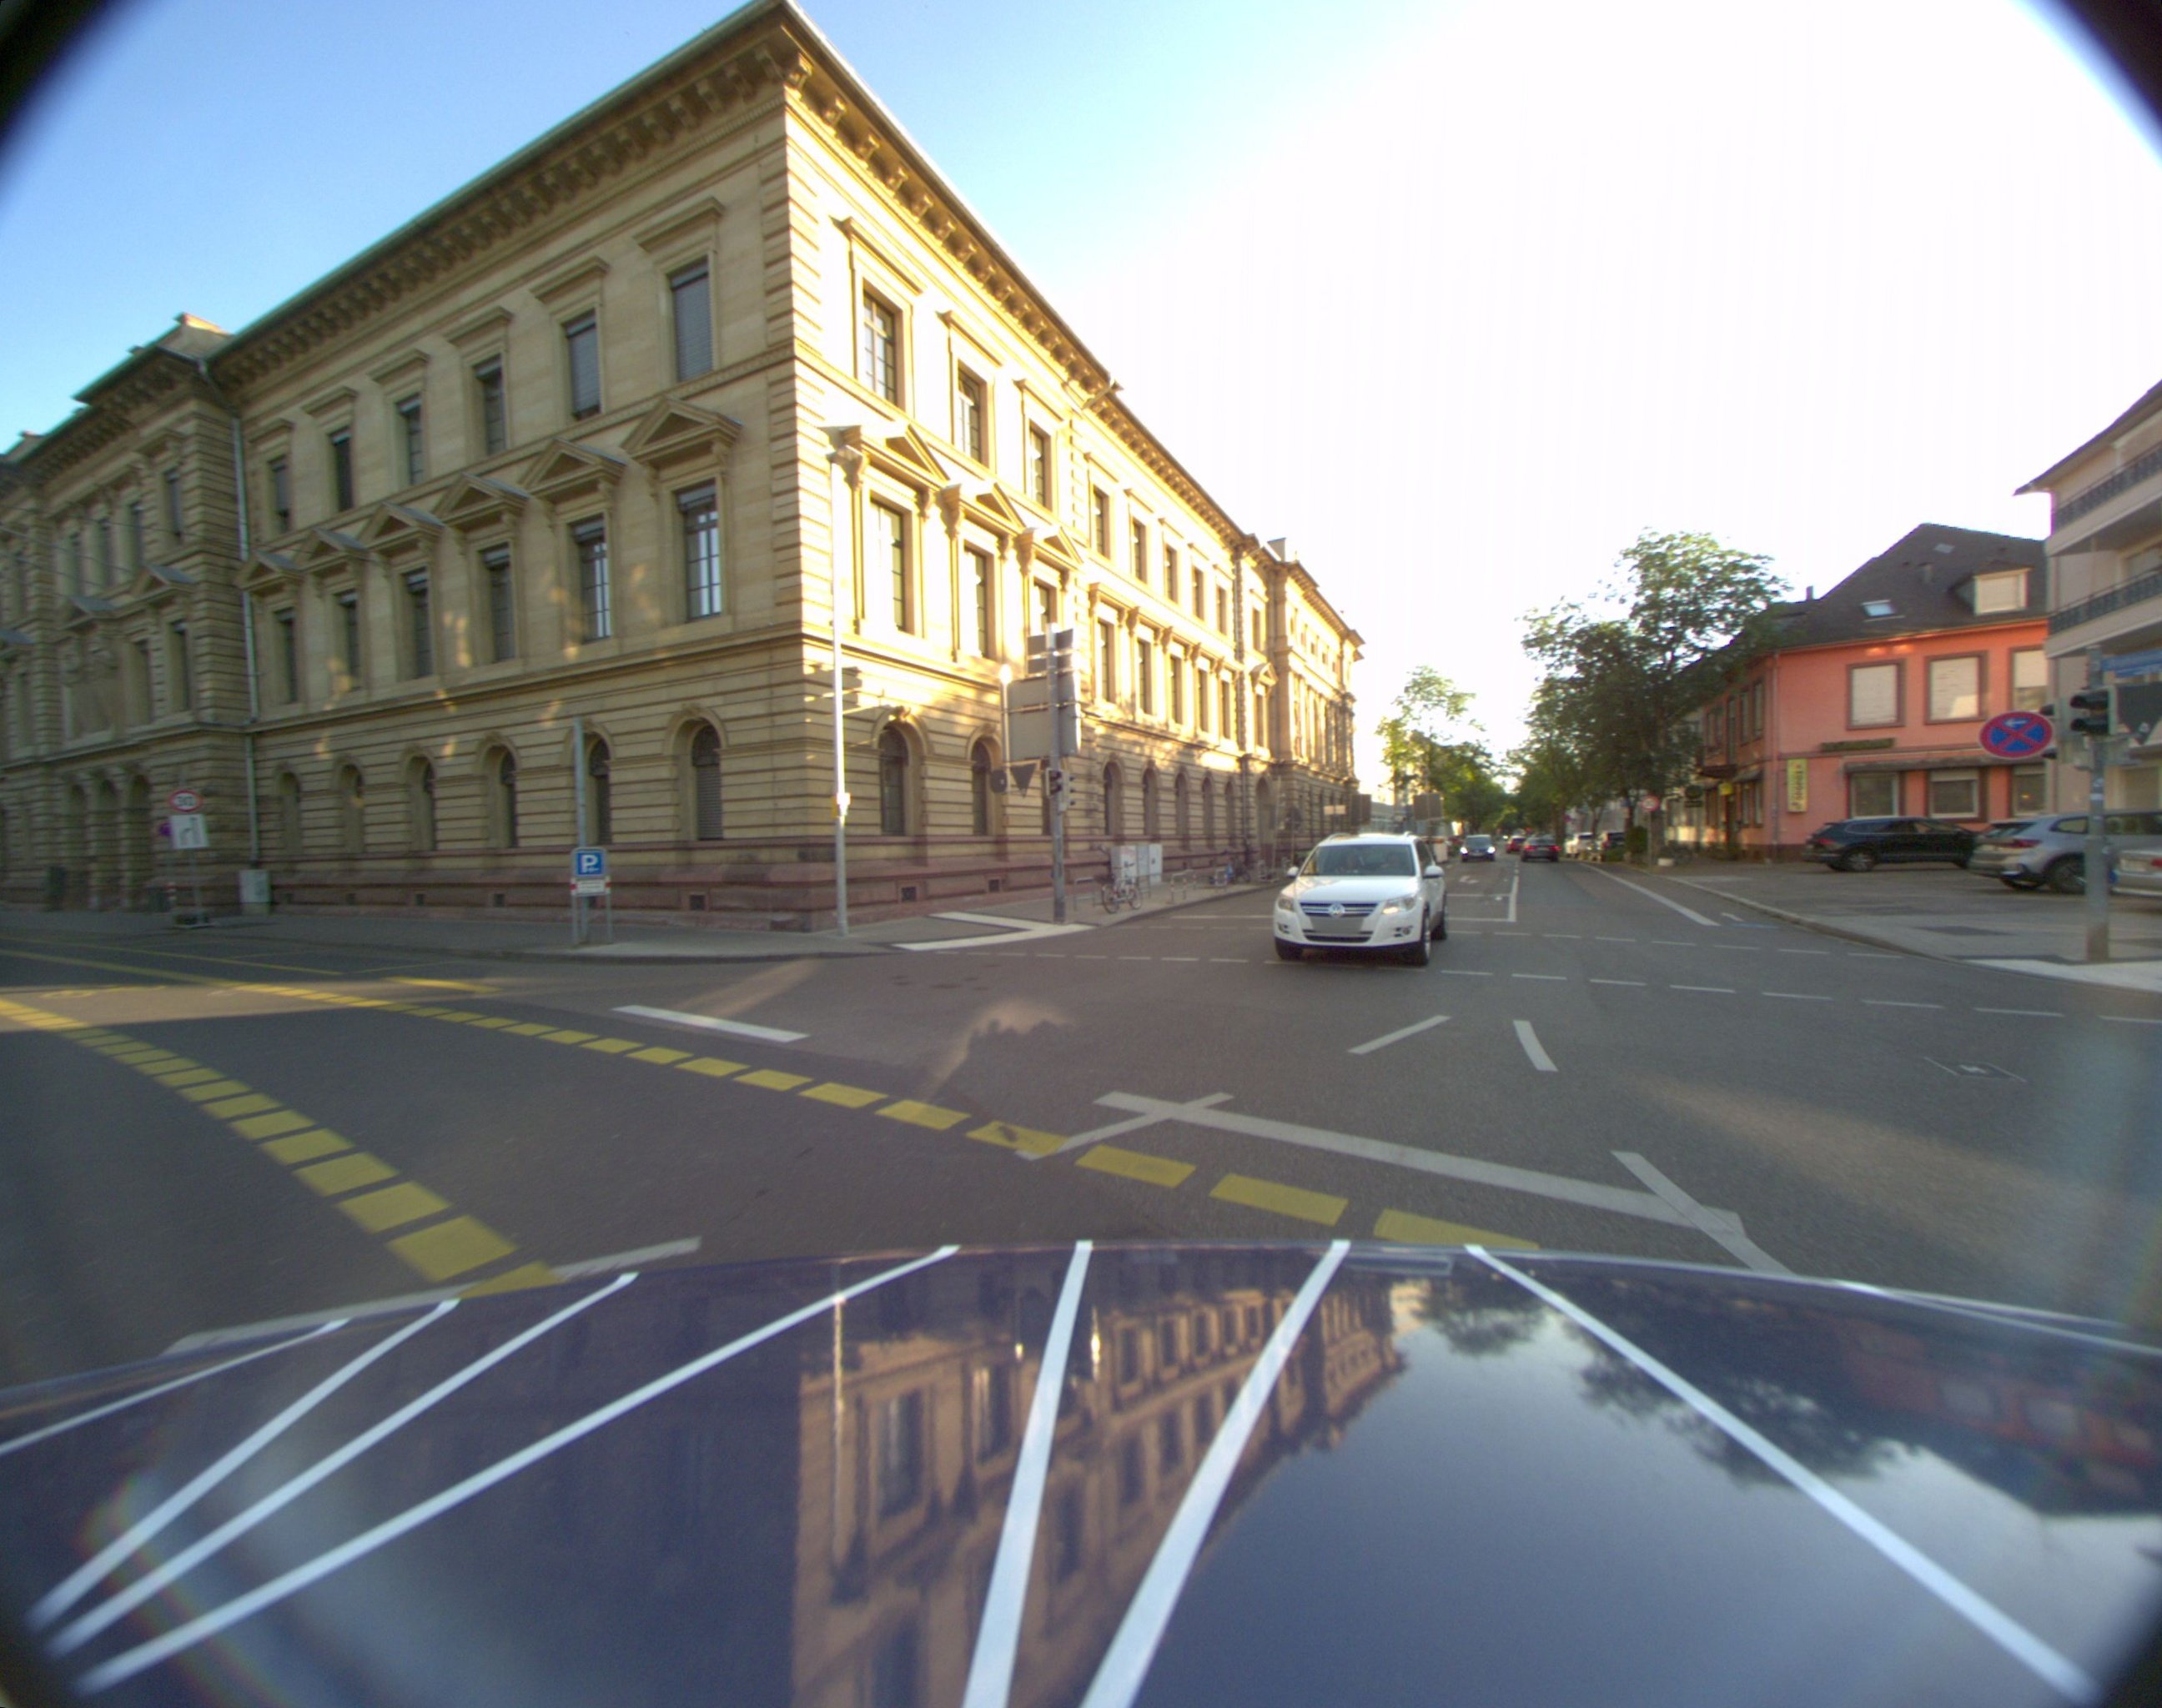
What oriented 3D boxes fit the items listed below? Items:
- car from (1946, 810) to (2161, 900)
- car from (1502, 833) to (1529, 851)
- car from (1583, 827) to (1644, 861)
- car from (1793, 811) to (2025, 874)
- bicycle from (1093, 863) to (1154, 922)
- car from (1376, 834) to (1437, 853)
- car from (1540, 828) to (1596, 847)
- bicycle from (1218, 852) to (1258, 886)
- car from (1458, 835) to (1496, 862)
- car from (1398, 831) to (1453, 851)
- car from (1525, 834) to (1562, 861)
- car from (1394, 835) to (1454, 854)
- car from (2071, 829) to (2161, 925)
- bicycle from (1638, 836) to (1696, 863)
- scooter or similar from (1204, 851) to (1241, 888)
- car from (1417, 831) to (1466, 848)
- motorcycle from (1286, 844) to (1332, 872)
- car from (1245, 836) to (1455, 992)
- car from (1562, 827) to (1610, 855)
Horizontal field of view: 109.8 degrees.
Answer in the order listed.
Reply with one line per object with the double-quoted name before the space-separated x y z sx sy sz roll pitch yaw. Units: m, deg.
"car" 20.512 -0.025 14.795 4.422 1.596 1.919 -3 0 29
"car" 37.672 -1.029 65.943 1.832 1.536 4.856 0 1 28
"car" 31.008 -0.609 44.381 1.830 1.749 5.056 -5 0 24
"car" 25.206 -0.321 23.387 4.422 1.655 1.867 -3 0 29
"bicycle" 1.025 0.875 17.819 0.582 1.182 1.923 -1 3 30
"car" 26.088 -0.856 60.976 4.359 1.456 1.836 2 3 26
"car" 45.283 -1.519 70.716 4.222 1.680 1.804 -1 2 27
"bicycle" 5.735 0.511 27.683 0.827 1.128 1.948 2 3 30
"car" 24.176 -0.383 46.324 1.947 1.547 4.007 -1 1 28
"car" 31.132 -1.191 68.576 4.359 1.633 2.058 2 3 28
"car" 27.269 -0.424 44.896 1.783 1.451 4.430 0 2 30
"car" 28.321 -0.816 62.731 4.358 1.487 1.675 2 3 30
"car" 18.167 0.242 11.015 4.270 1.372 1.739 -3 0 29
"bicycle" 25.109 -0.203 32.609 1.868 1.098 0.611 -2 1 24
"scooter or similar" 4.933 0.522 26.491 0.585 1.189 1.130 -3 4 -42
"car" 36.924 -1.492 77.815 4.359 1.615 1.736 1 3 28
"motorcycle" 10.466 0.151 34.943 0.711 1.208 2.099 -1 3 -30
"car" 4.021 0.632 10.774 1.953 1.667 4.550 -1 1 30
"car" 34.536 -0.895 52.088 1.830 1.658 4.663 -5 0 24
